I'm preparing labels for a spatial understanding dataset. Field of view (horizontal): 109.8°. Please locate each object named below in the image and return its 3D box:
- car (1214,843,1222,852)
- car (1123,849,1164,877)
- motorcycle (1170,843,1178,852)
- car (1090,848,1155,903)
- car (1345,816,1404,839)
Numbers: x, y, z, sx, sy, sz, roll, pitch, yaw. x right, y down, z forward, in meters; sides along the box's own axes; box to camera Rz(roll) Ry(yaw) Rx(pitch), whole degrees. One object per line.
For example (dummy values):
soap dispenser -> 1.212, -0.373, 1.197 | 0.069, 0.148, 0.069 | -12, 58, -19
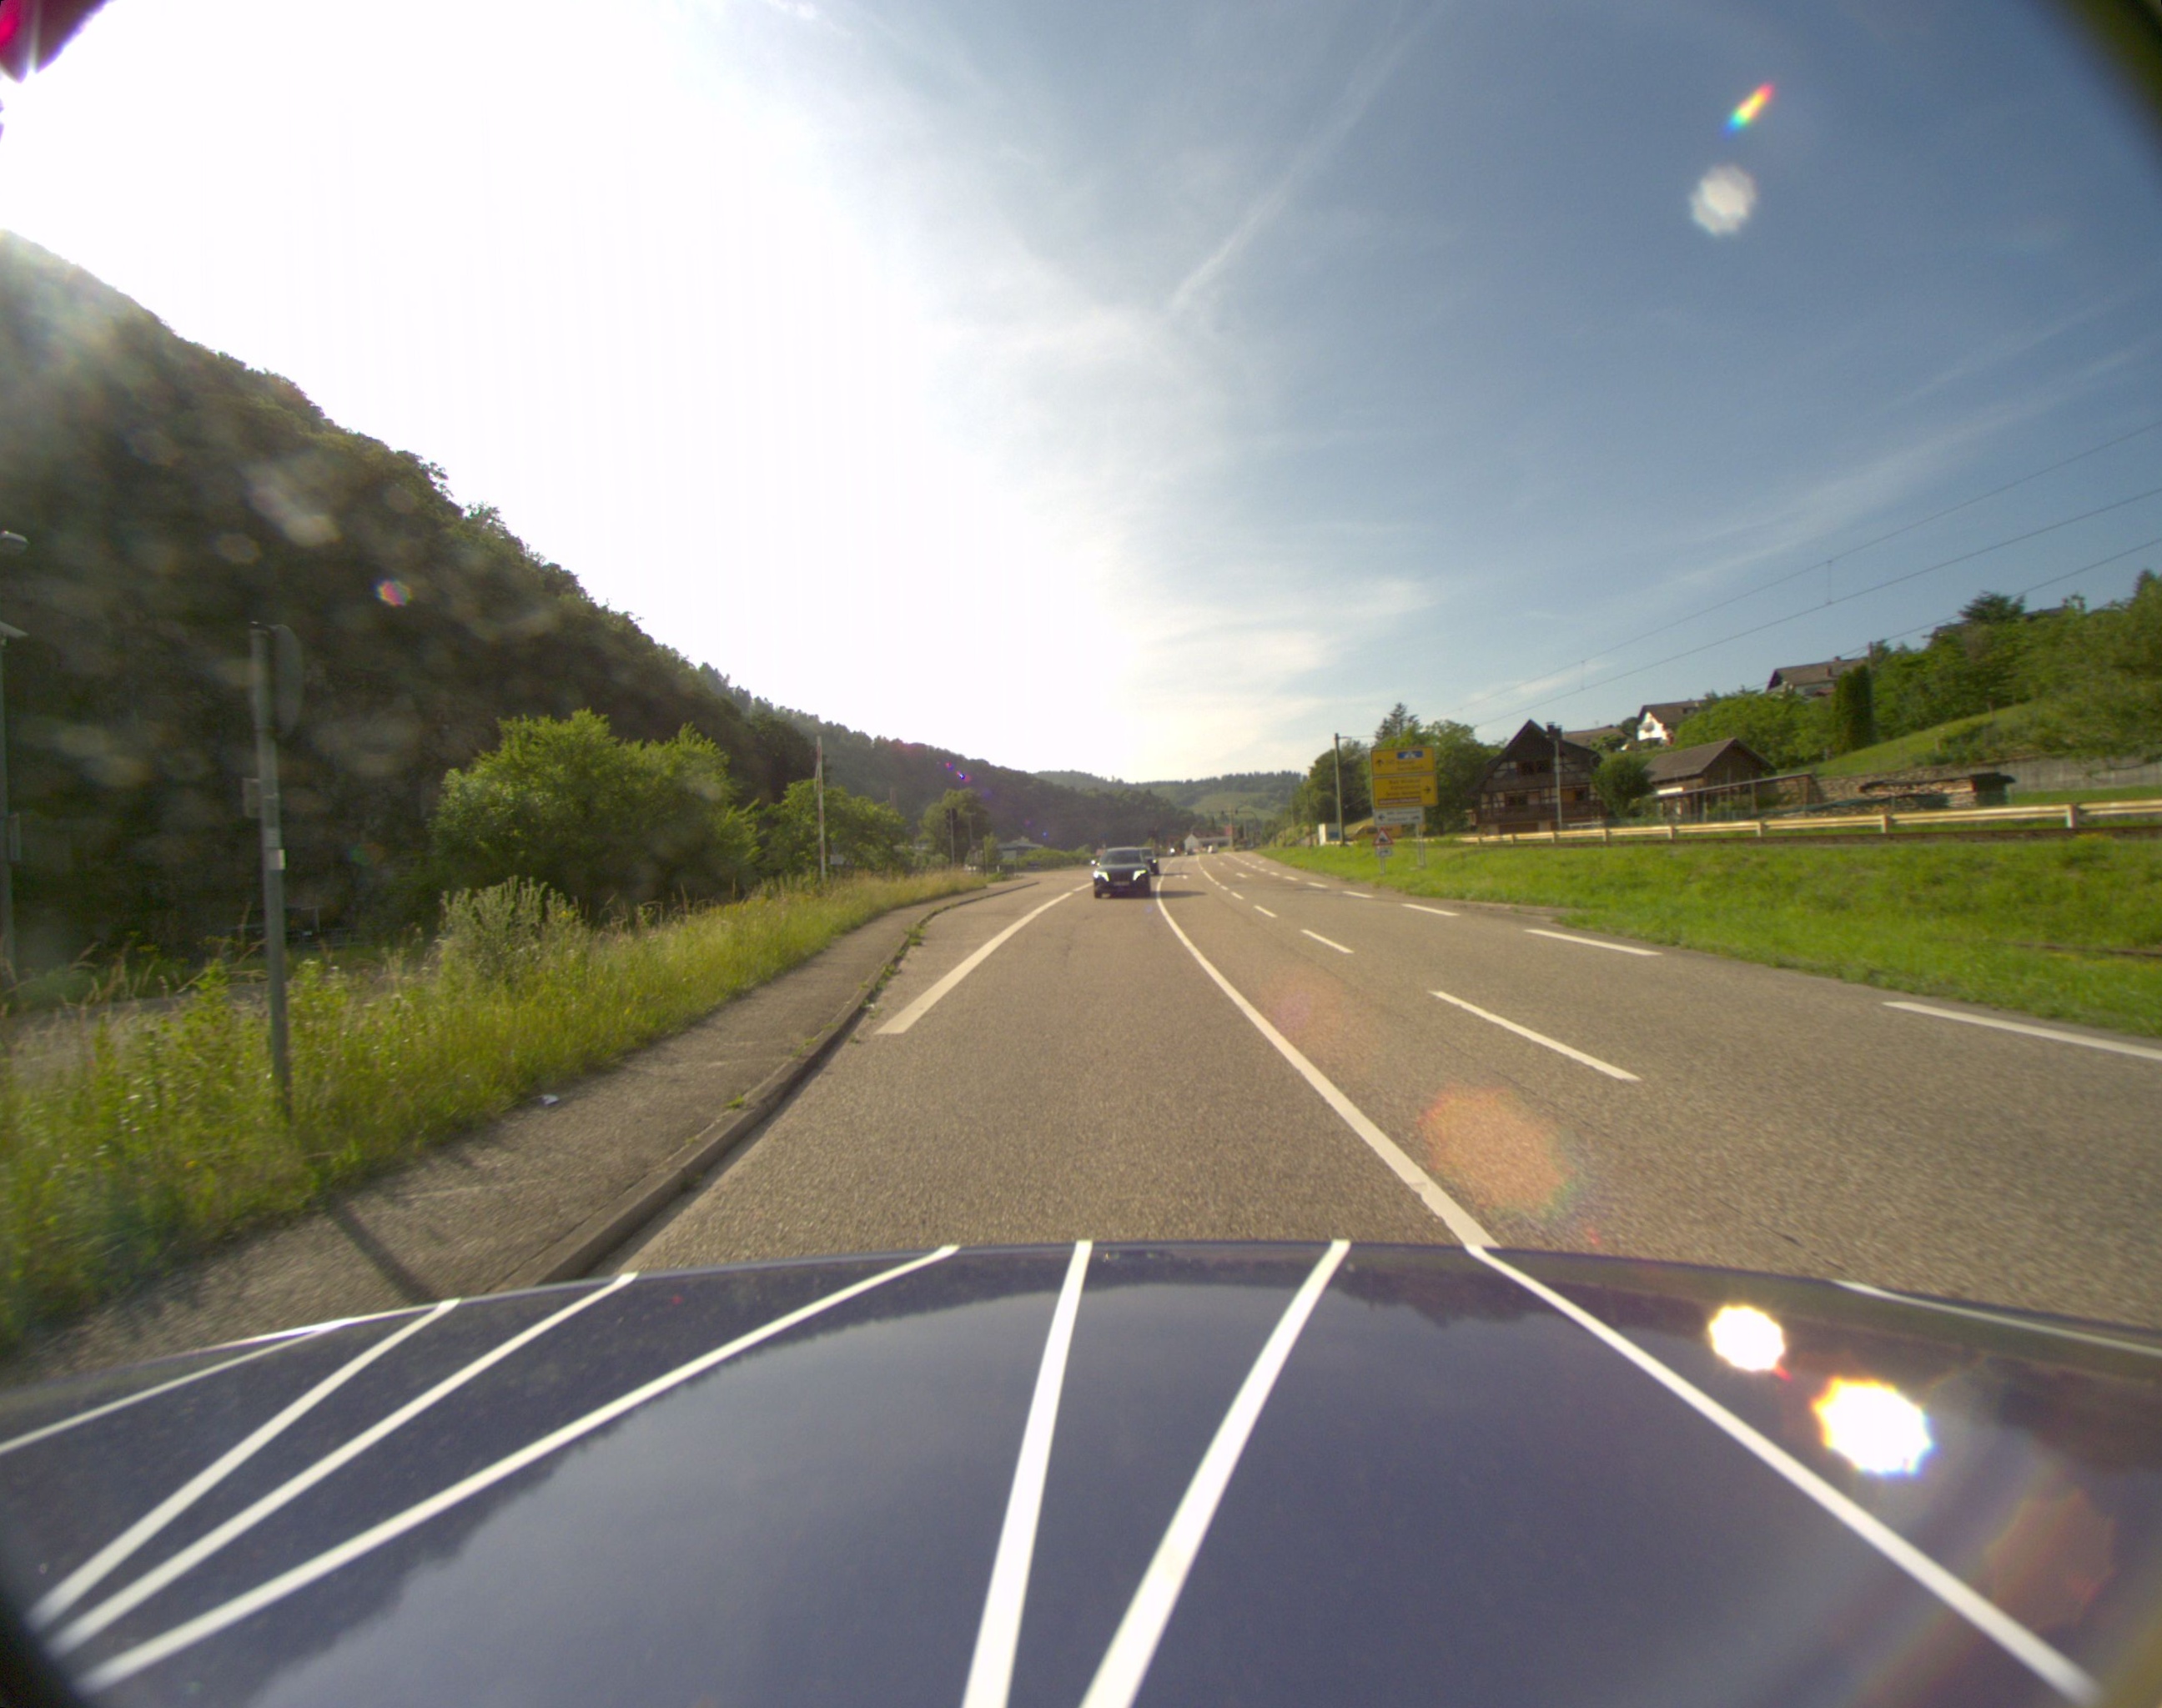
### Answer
car -> 41.704, -1.990, 231.323 | 2.123, 2.422, 5.232 | -5, 0, 11
car -> 3.658, 0.536, 45.201 | 1.919, 1.455, 3.999 | -4, 0, -1
motorcycle -> 14.531, -1.049, 118.651 | 1.004, 1.261, 2.594 | -5, 0, 8
car -> 1.456, 0.686, 26.709 | 1.998, 1.661, 5.512 | -2, 0, 3
car -> 38.873, -3.457, 100.797 | 7.073, 2.442, 2.952 | -4, 0, 19
